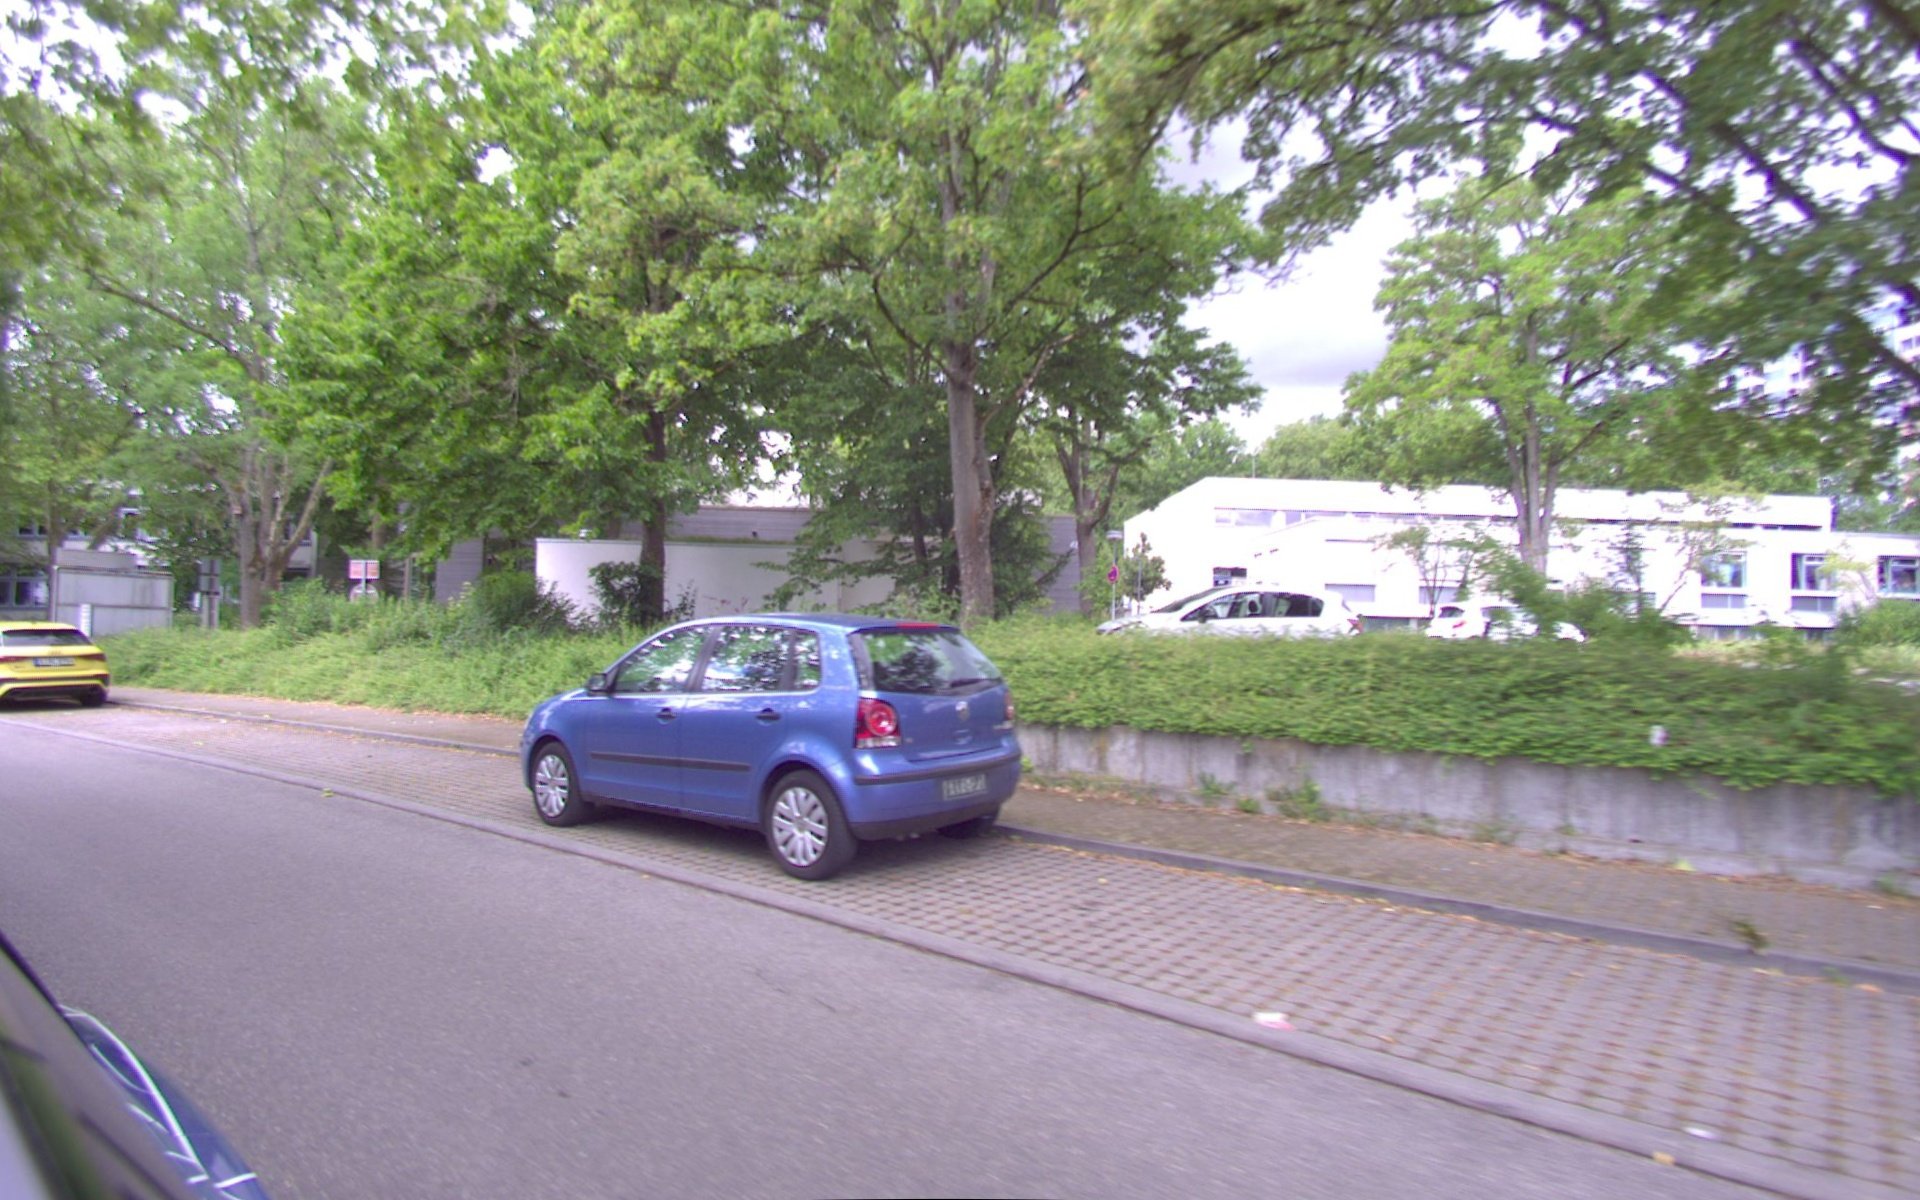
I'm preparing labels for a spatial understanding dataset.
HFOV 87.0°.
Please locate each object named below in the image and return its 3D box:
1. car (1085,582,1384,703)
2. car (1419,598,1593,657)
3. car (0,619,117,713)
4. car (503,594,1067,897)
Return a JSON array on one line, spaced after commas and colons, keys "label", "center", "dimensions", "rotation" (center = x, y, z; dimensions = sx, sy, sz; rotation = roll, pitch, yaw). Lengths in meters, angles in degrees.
[{"label": "car", "center": [3.863, 0.633, 14.710], "dimensions": [3.817, 1.634, 1.747], "rotation": [0, -3, -2]}, {"label": "car", "center": [14.173, 0.688, 26.393], "dimensions": [3.565, 1.453, 1.791], "rotation": [0, 1, -3]}, {"label": "car", "center": [-16.100, 1.031, 16.922], "dimensions": [4.256, 1.413, 1.688], "rotation": [0, -2, 30]}, {"label": "car", "center": [-1.281, 0.764, 6.653], "dimensions": [3.713, 1.470, 1.519], "rotation": [-1, -3, 37]}]
